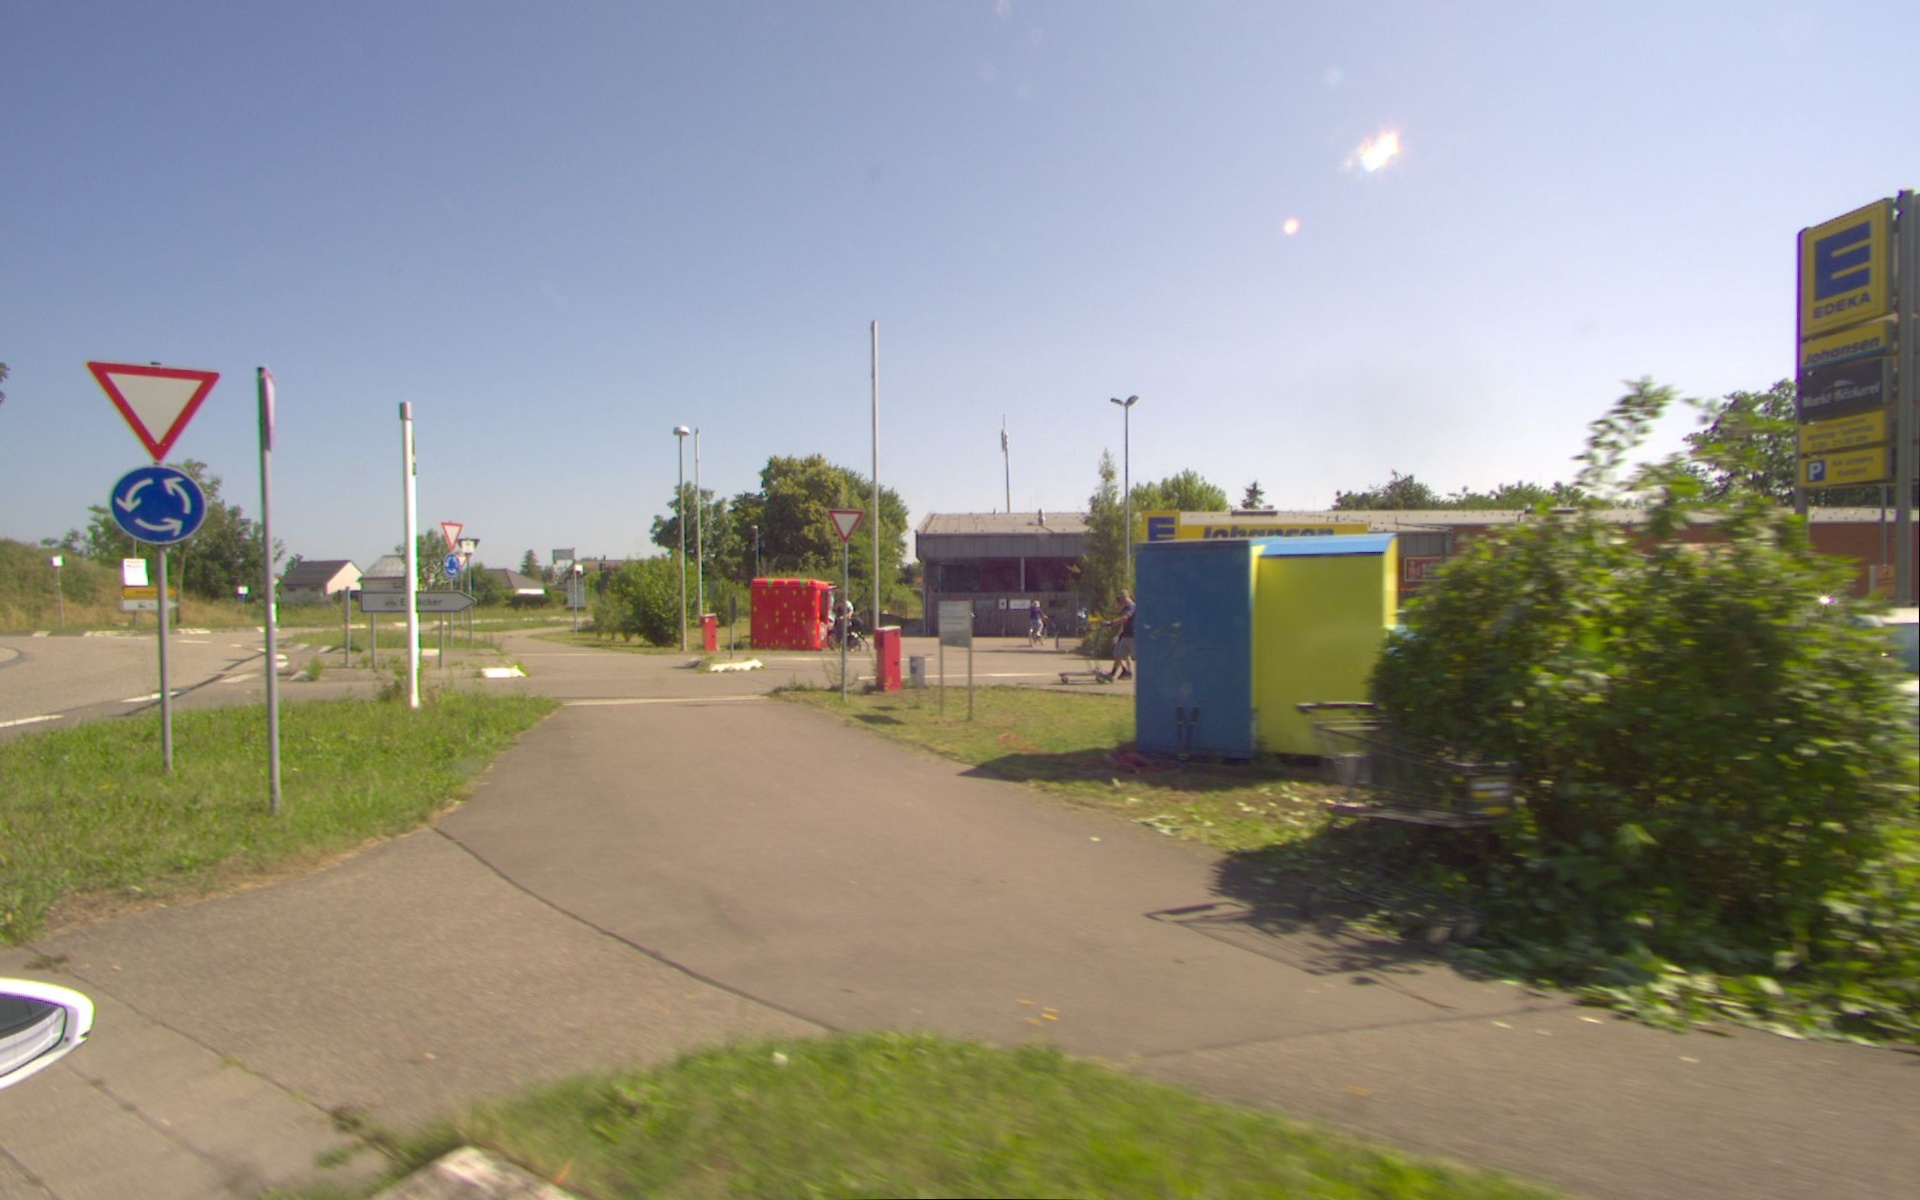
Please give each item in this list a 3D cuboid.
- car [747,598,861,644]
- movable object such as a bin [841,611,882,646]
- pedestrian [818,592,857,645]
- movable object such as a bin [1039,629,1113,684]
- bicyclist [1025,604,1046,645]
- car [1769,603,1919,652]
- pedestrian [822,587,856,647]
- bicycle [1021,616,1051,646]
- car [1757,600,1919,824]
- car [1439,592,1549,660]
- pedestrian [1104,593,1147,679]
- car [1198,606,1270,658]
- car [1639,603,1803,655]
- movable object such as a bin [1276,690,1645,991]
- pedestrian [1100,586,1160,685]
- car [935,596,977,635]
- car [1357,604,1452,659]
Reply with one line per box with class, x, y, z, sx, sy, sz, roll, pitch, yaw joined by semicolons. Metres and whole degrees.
car;-5.513;0.724;35.580;3.698;1.465;1.725;1;1;3
movable object such as a bin;-3.050;0.873;31.018;1.026;1.060;0.764;1;1;33
pedestrian;-3.863;0.578;31.564;0.913;1.640;0.810;1;1;32
movable object such as a bin;2.161;1.048;18.783;1.181;0.968;0.880;0;1;-7
bicyclist;2.838;0.920;37.668;0.597;1.535;0.676;1;1;22
car;27.970;0.816;31.566;1.682;1.416;3.999;0;0;0
pedestrian;-3.929;0.544;32.526;0.766;1.896;0.833;0;1;-43
bicycle;2.878;1.160;37.794;0.544;1.056;2.070;1;1;22
car;8.541;0.836;8.642;1.784;1.583;3.592;1;1;25
car;16.268;0.747;30.688;1.842;1.954;3.491;1;0;8
pedestrian;3.255;0.695;19.781;0.585;1.670;0.702;0;1;-15
car;8.406;0.937;30.985;1.683;1.477;3.491;1;0;8
car;23.063;0.832;30.566;1.944;1.439;4.000;1;0;0
movable object such as a bin;2.488;1.101;5.106;0.859;1.135;1.445;0;0;-35
pedestrian;3.189;0.656;18.846;0.827;1.809;0.879;0;1;-11
car;-0.180;0.680;44.149;1.793;1.657;1.130;1;1;1
car;13.421;0.908;30.419;1.683;1.518;3.491;1;0;8
